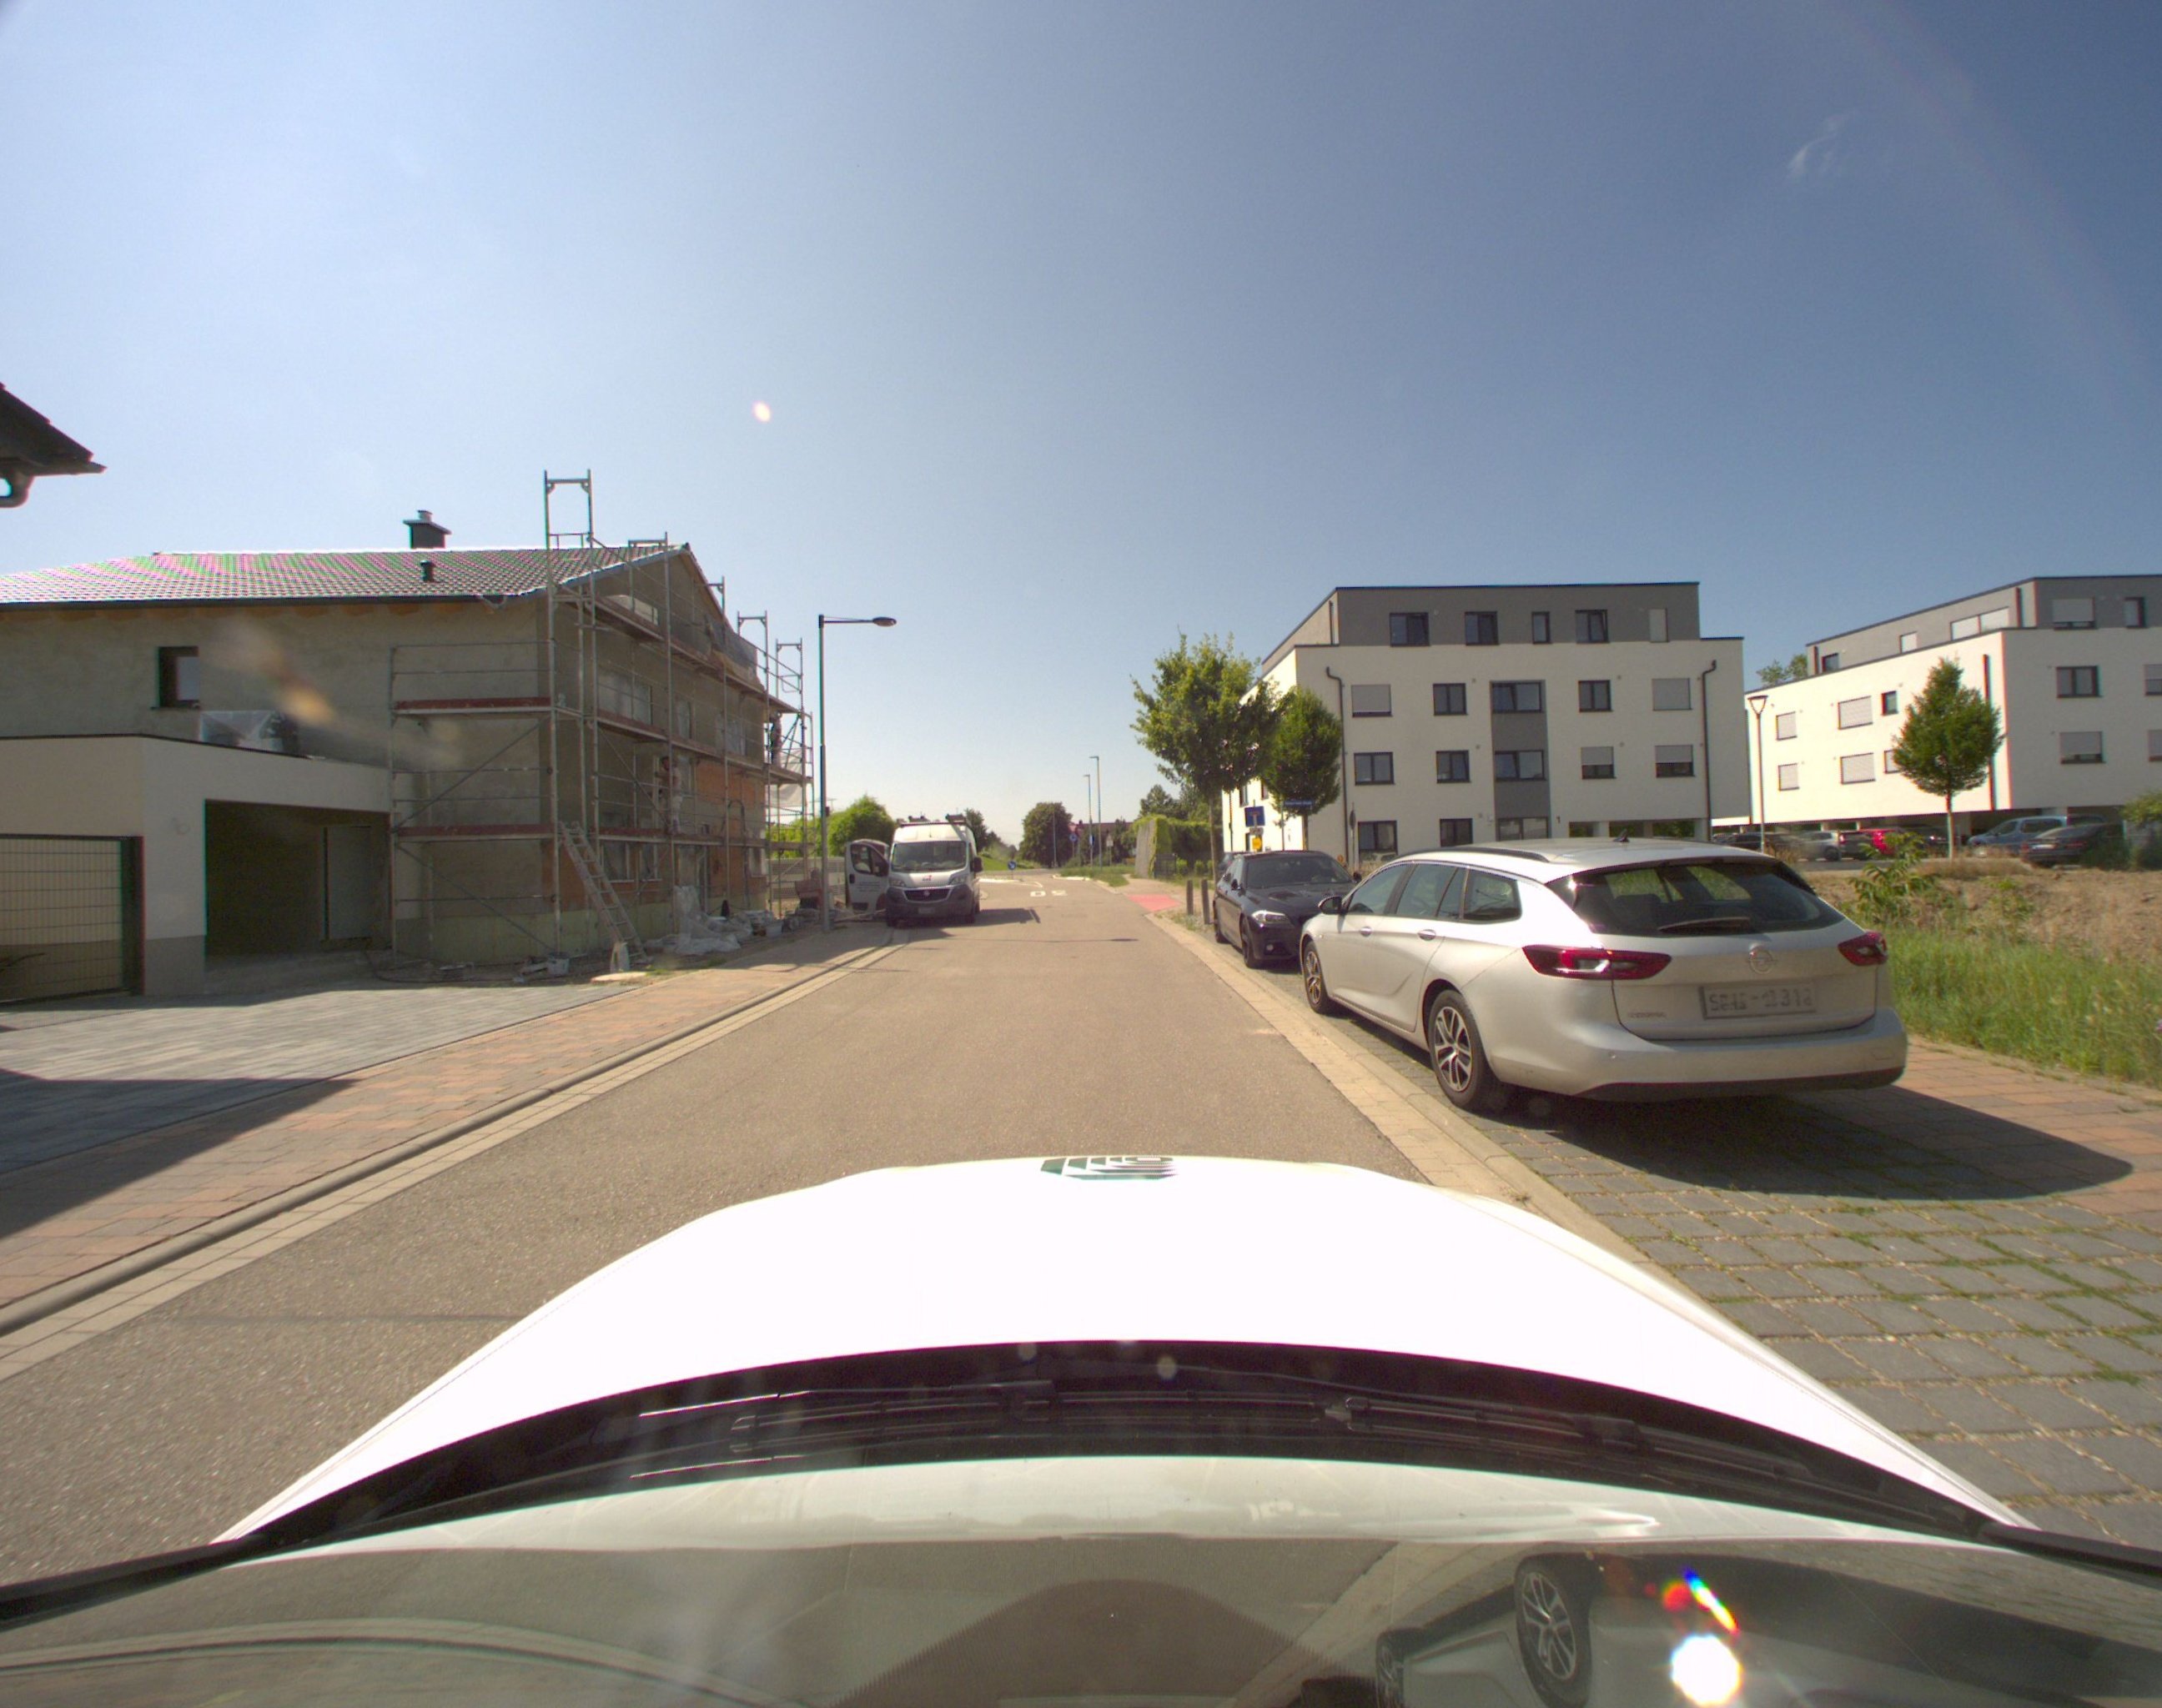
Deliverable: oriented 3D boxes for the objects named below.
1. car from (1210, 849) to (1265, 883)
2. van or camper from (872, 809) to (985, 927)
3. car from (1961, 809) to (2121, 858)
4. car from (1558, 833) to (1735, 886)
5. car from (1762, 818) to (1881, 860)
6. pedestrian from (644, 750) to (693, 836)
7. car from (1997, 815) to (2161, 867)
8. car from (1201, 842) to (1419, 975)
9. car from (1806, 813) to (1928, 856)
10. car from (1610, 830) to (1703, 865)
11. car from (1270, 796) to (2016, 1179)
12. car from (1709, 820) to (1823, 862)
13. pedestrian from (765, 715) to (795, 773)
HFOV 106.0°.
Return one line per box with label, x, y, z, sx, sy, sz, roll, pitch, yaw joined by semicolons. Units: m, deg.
car;7.360;0.536;38.566;1.673;1.469;4.113;-1;0;-2
van or camper;-3.753;0.358;21.289;2.270;2.553;6.354;-2;-1;-6
car;40.337;-0.794;34.396;1.869;1.810;4.175;-2;-1;3
car;17.364;0.186;25.133;4.147;1.435;1.881;-2;-1;-2
car;35.630;-0.681;39.338;1.871;1.810;4.170;-2;-1;0
pedestrian;-8.517;-1.237;16.802;0.752;1.680;0.571;0;-3;-42
car;32.110;-0.407;25.786;4.147;1.478;1.881;-2;-1;-2
car;3.075;0.624;12.170;1.911;1.469;5.143;-3;0;2
car;38.236;-0.901;39.797;1.871;1.810;4.170;-2;-1;0
car;27.921;-0.278;39.670;1.871;1.503;3.677;-2;-1;0
car;3.004;0.550;6.100;1.912;1.511;5.295;-3;0;0
car;32.729;-0.569;39.094;1.871;1.810;4.170;-2;-1;0
pedestrian;-8.482;-3.088;22.952;0.566;1.500;0.740;0;-3;-37
